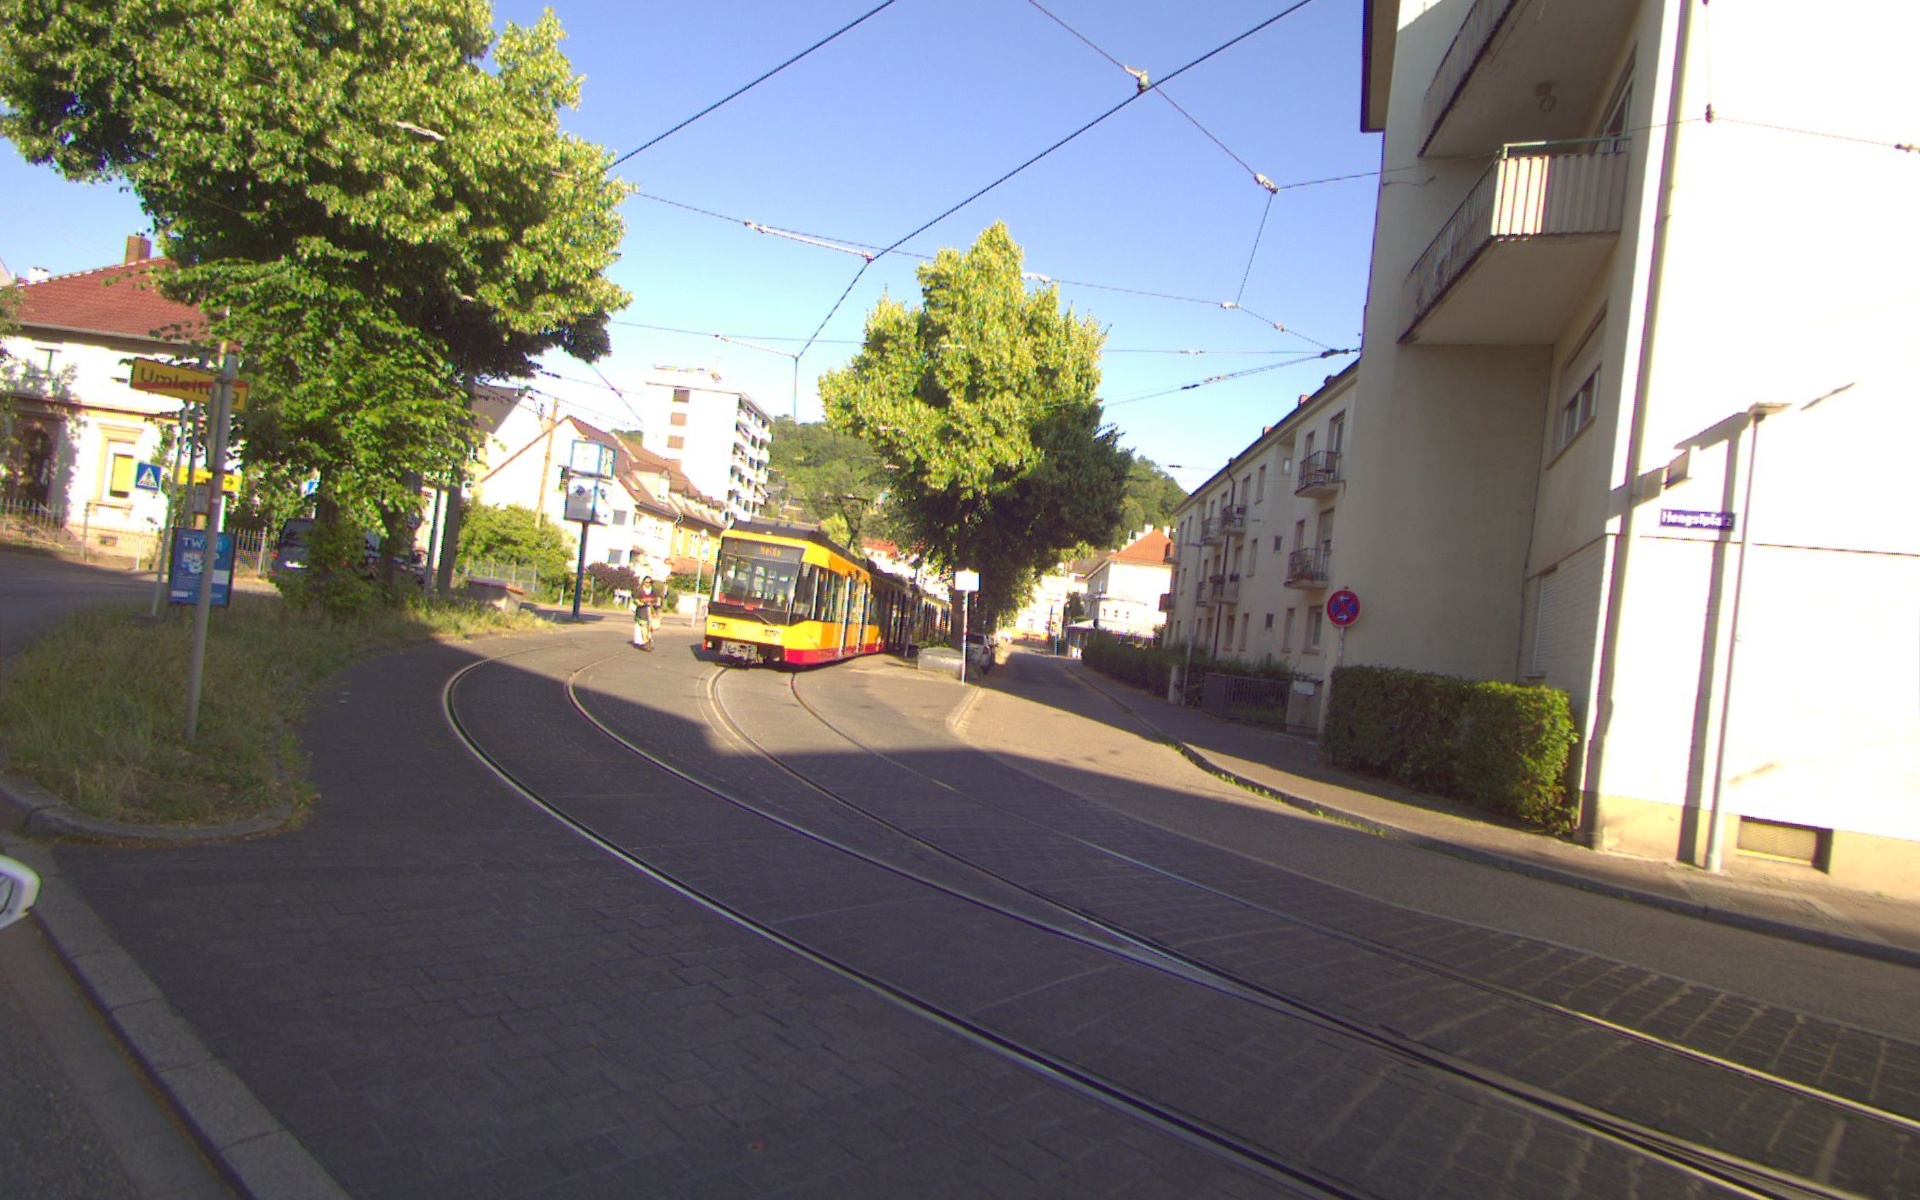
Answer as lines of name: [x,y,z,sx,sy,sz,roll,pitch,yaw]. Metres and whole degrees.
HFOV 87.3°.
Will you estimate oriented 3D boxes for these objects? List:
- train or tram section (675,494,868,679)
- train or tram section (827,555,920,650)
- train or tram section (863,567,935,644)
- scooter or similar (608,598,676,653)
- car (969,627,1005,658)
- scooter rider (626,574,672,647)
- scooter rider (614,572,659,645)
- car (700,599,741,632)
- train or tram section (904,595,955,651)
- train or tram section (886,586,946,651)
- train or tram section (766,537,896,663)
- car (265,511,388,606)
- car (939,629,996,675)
train or tram section: [-4.457,-0.134,26.300,2.733,3.597,9.925,7,-2,1]
train or tram section: [-3.744,0.264,46.109,2.732,3.597,9.926,7,-2,2]
train or tram section: [-3.219,0.459,56.001,2.732,3.597,9.926,7,-2,2]
scooter or similar: [-7.746,0.629,24.514,1.382,1.150,0.684,7,0,27]
car: [1.566,2.446,57.456,1.699,1.547,3.799,7,-3,4]
scooter rider: [-7.539,0.264,24.388,0.597,1.693,0.654,6,0,30]
scooter rider: [-7.903,0.218,24.610,0.597,1.693,0.654,6,0,30]
car: [-14.587,0.969,61.434,1.966,1.736,3.997,7,-2,-9]
train or tram section: [-2.190,1.793,75.819,2.732,3.597,9.927,7,-2,2]
train or tram section: [-2.714,1.282,65.927,2.732,3.597,9.927,7,-2,2]
train or tram section: [-4.310,0.168,36.216,2.732,3.597,9.926,7,-2,2]
car: [-16.464,-1.045,26.365,1.975,2.037,3.978,8,-2,-24]
car: [0.337,1.956,38.315,1.657,1.458,4.004,7,-2,5]
